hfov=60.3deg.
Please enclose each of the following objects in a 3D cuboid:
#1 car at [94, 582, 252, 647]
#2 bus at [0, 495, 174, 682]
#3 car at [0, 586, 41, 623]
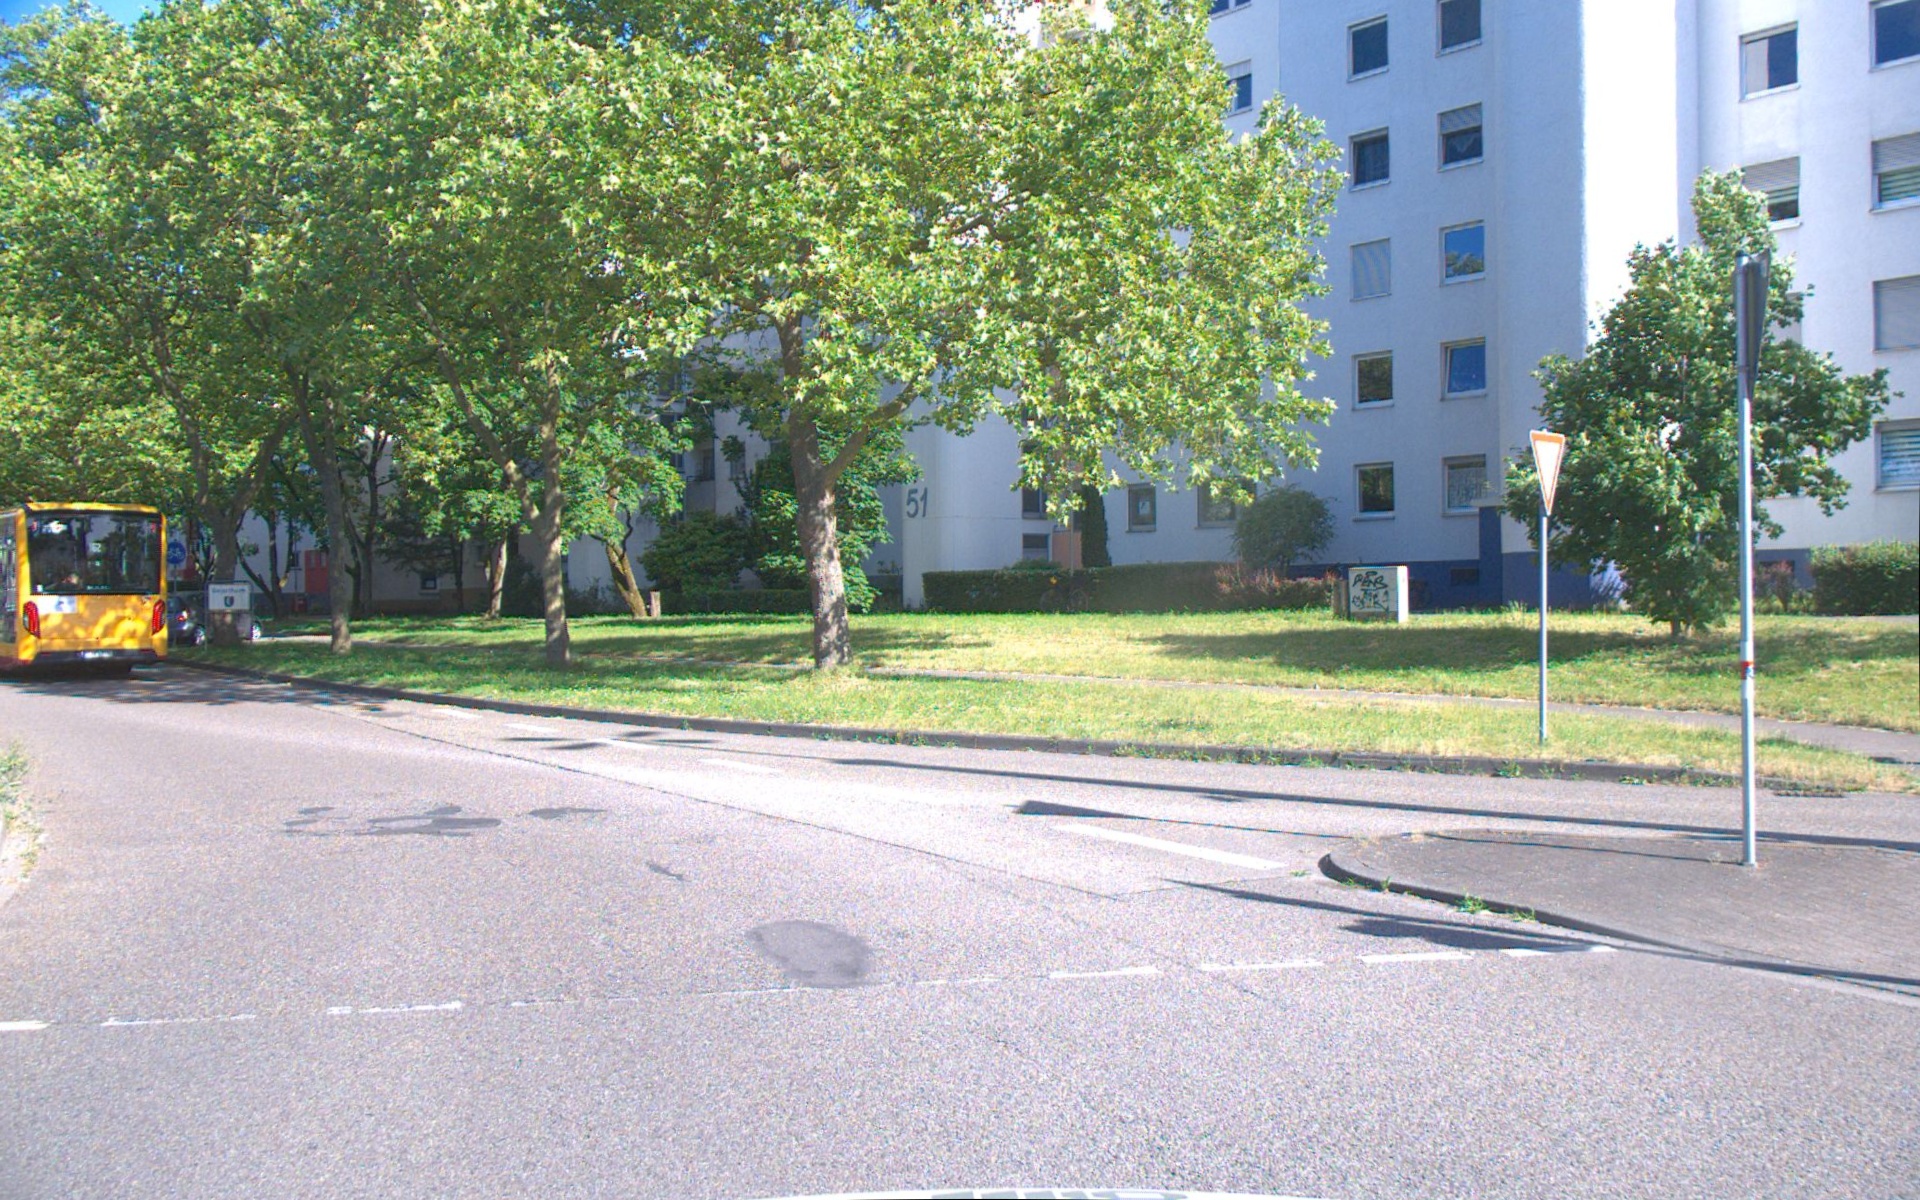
[{"bbox_3d":[-23.033,0.407,48.445,3.845,1.849,1.657,0,1,6],"label":"car"},{"bbox_3d":[-19.647,-0.345,35.108,2.628,3.318,12.362,-1,2,-38],"label":"bus"},{"bbox_3d":[-53.359,0.282,91.150,4.238,2.018,1.941,-1,0,0],"label":"car"}]
